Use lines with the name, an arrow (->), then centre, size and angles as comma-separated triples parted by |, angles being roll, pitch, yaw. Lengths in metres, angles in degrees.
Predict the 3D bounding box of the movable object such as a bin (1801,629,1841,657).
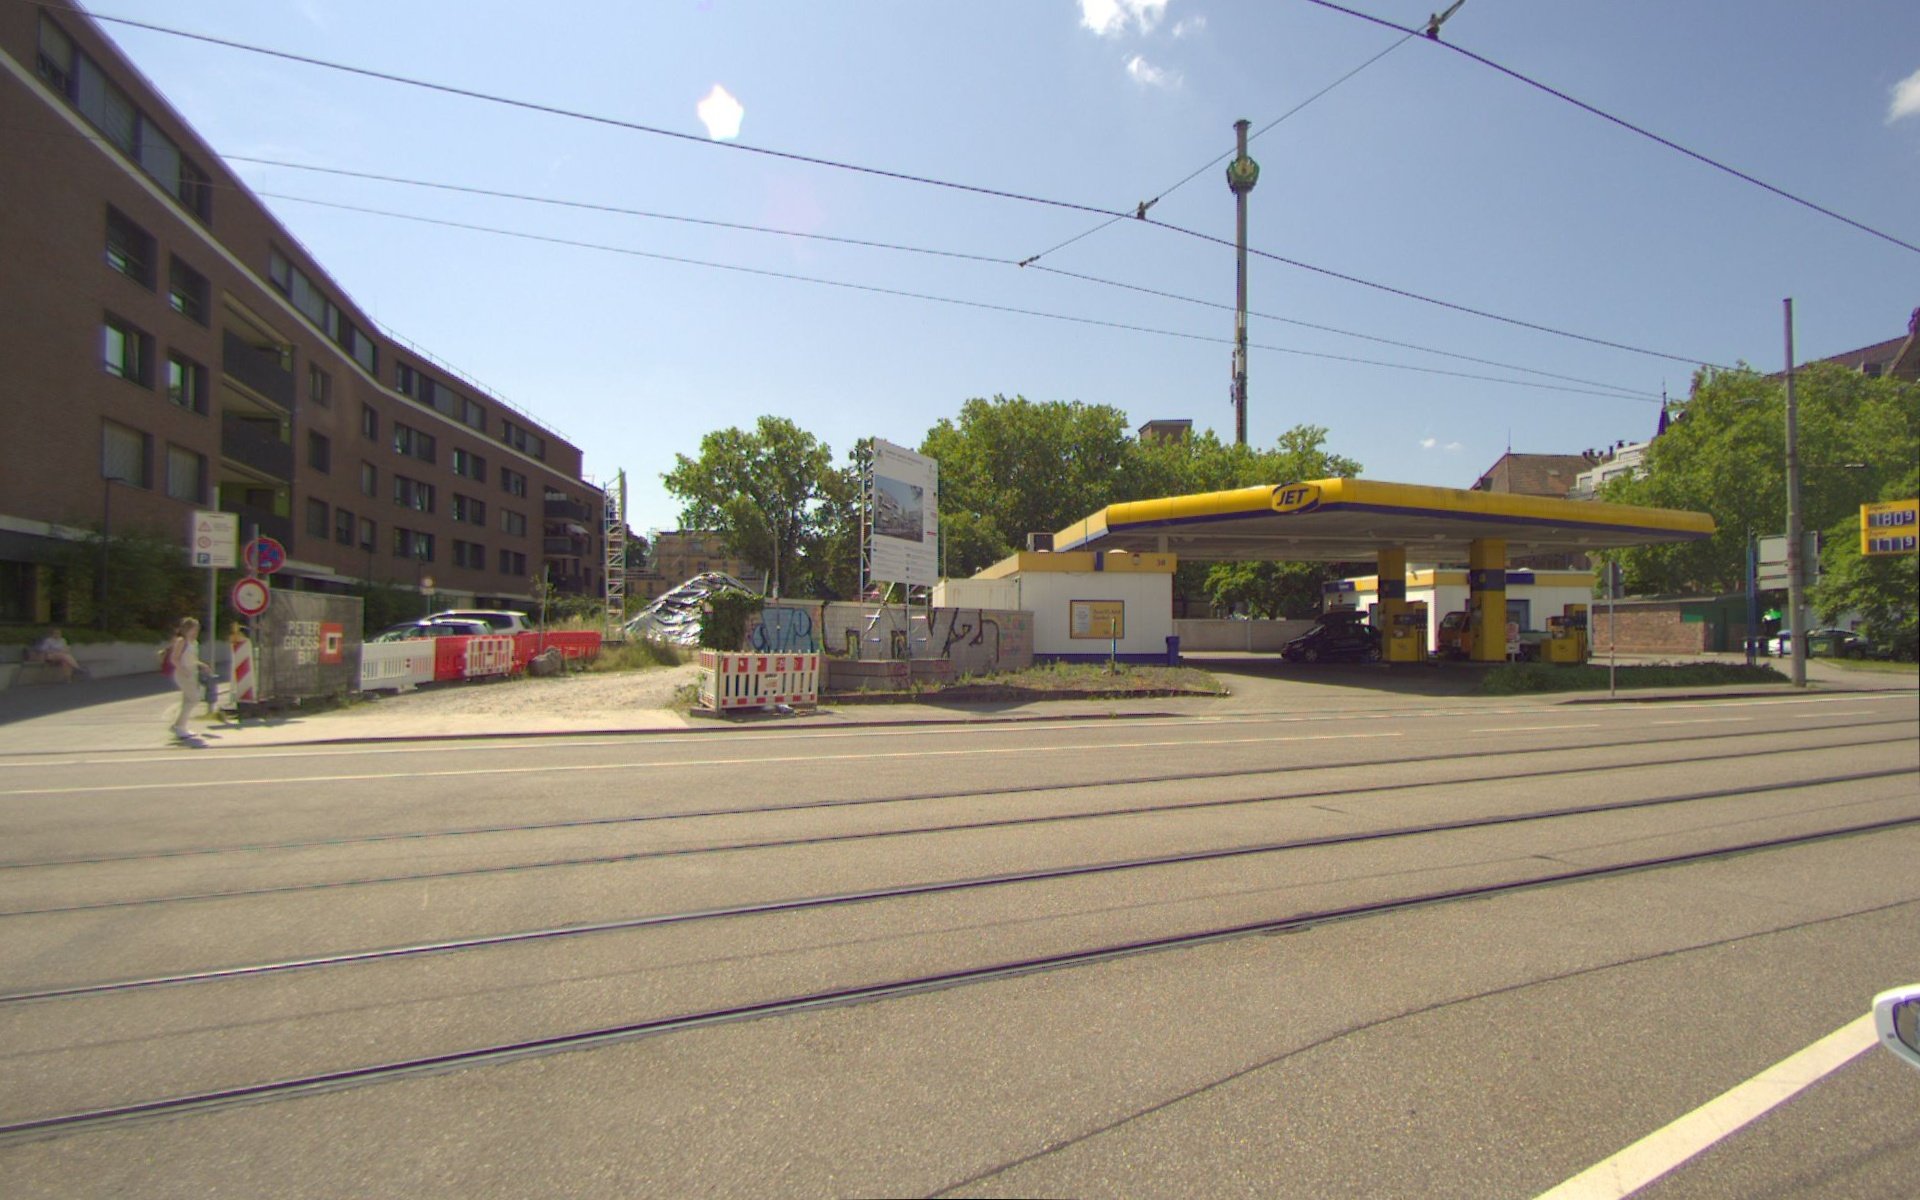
movable object such as a bin -> 42.679, 2.137, 49.800 | 0.750, 1.372, 1.337 | 1, -2, -31

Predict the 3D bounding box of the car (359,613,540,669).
car -> -15.814, 1.275, 31.456 | 4.763, 1.672, 2.113 | 1, -2, -20

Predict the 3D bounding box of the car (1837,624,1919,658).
car -> 45.234, 1.960, 48.244 | 4.246, 1.611, 2.001 | 0, -2, 15

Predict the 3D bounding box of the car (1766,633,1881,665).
car -> 46.057, 2.574, 53.668 | 4.247, 1.613, 1.911 | 0, -1, 18

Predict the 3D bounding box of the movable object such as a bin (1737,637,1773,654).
movable object such as a bin -> 42.296, 2.418, 53.453 | 0.744, 0.885, 1.347 | 1, -2, -9

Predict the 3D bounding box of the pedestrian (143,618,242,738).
pedestrian -> -10.940, 1.088, 14.347 | 0.987, 1.617, 0.757 | 1, 2, -27

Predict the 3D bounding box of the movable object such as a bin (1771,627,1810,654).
movable object such as a bin -> 42.661, 2.073, 51.596 | 0.746, 1.372, 1.344 | 1, -2, -17

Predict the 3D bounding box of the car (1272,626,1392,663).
car -> 15.420, 1.831, 41.779 | 4.257, 1.498, 2.000 | 0, -2, -1

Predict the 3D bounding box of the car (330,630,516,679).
car -> -14.075, 1.412, 26.533 | 3.926, 1.176, 1.825 | 0, 0, -8

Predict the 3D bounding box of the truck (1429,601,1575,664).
truck -> 22.864, 1.356, 42.517 | 5.100, 2.531, 2.000 | 1, -1, 1

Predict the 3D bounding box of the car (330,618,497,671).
car -> -15.568, 1.264, 28.839 | 3.937, 1.439, 1.668 | 1, -2, -18

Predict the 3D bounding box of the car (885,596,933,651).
car -> -2.749, 1.247, 53.352 | 2.082, 2.811, 4.492 | 0, -1, -9

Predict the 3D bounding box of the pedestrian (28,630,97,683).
pedestrian -> -20.081, 1.246, 22.483 | 0.909, 1.145, 0.761 | 0, -1, 16
